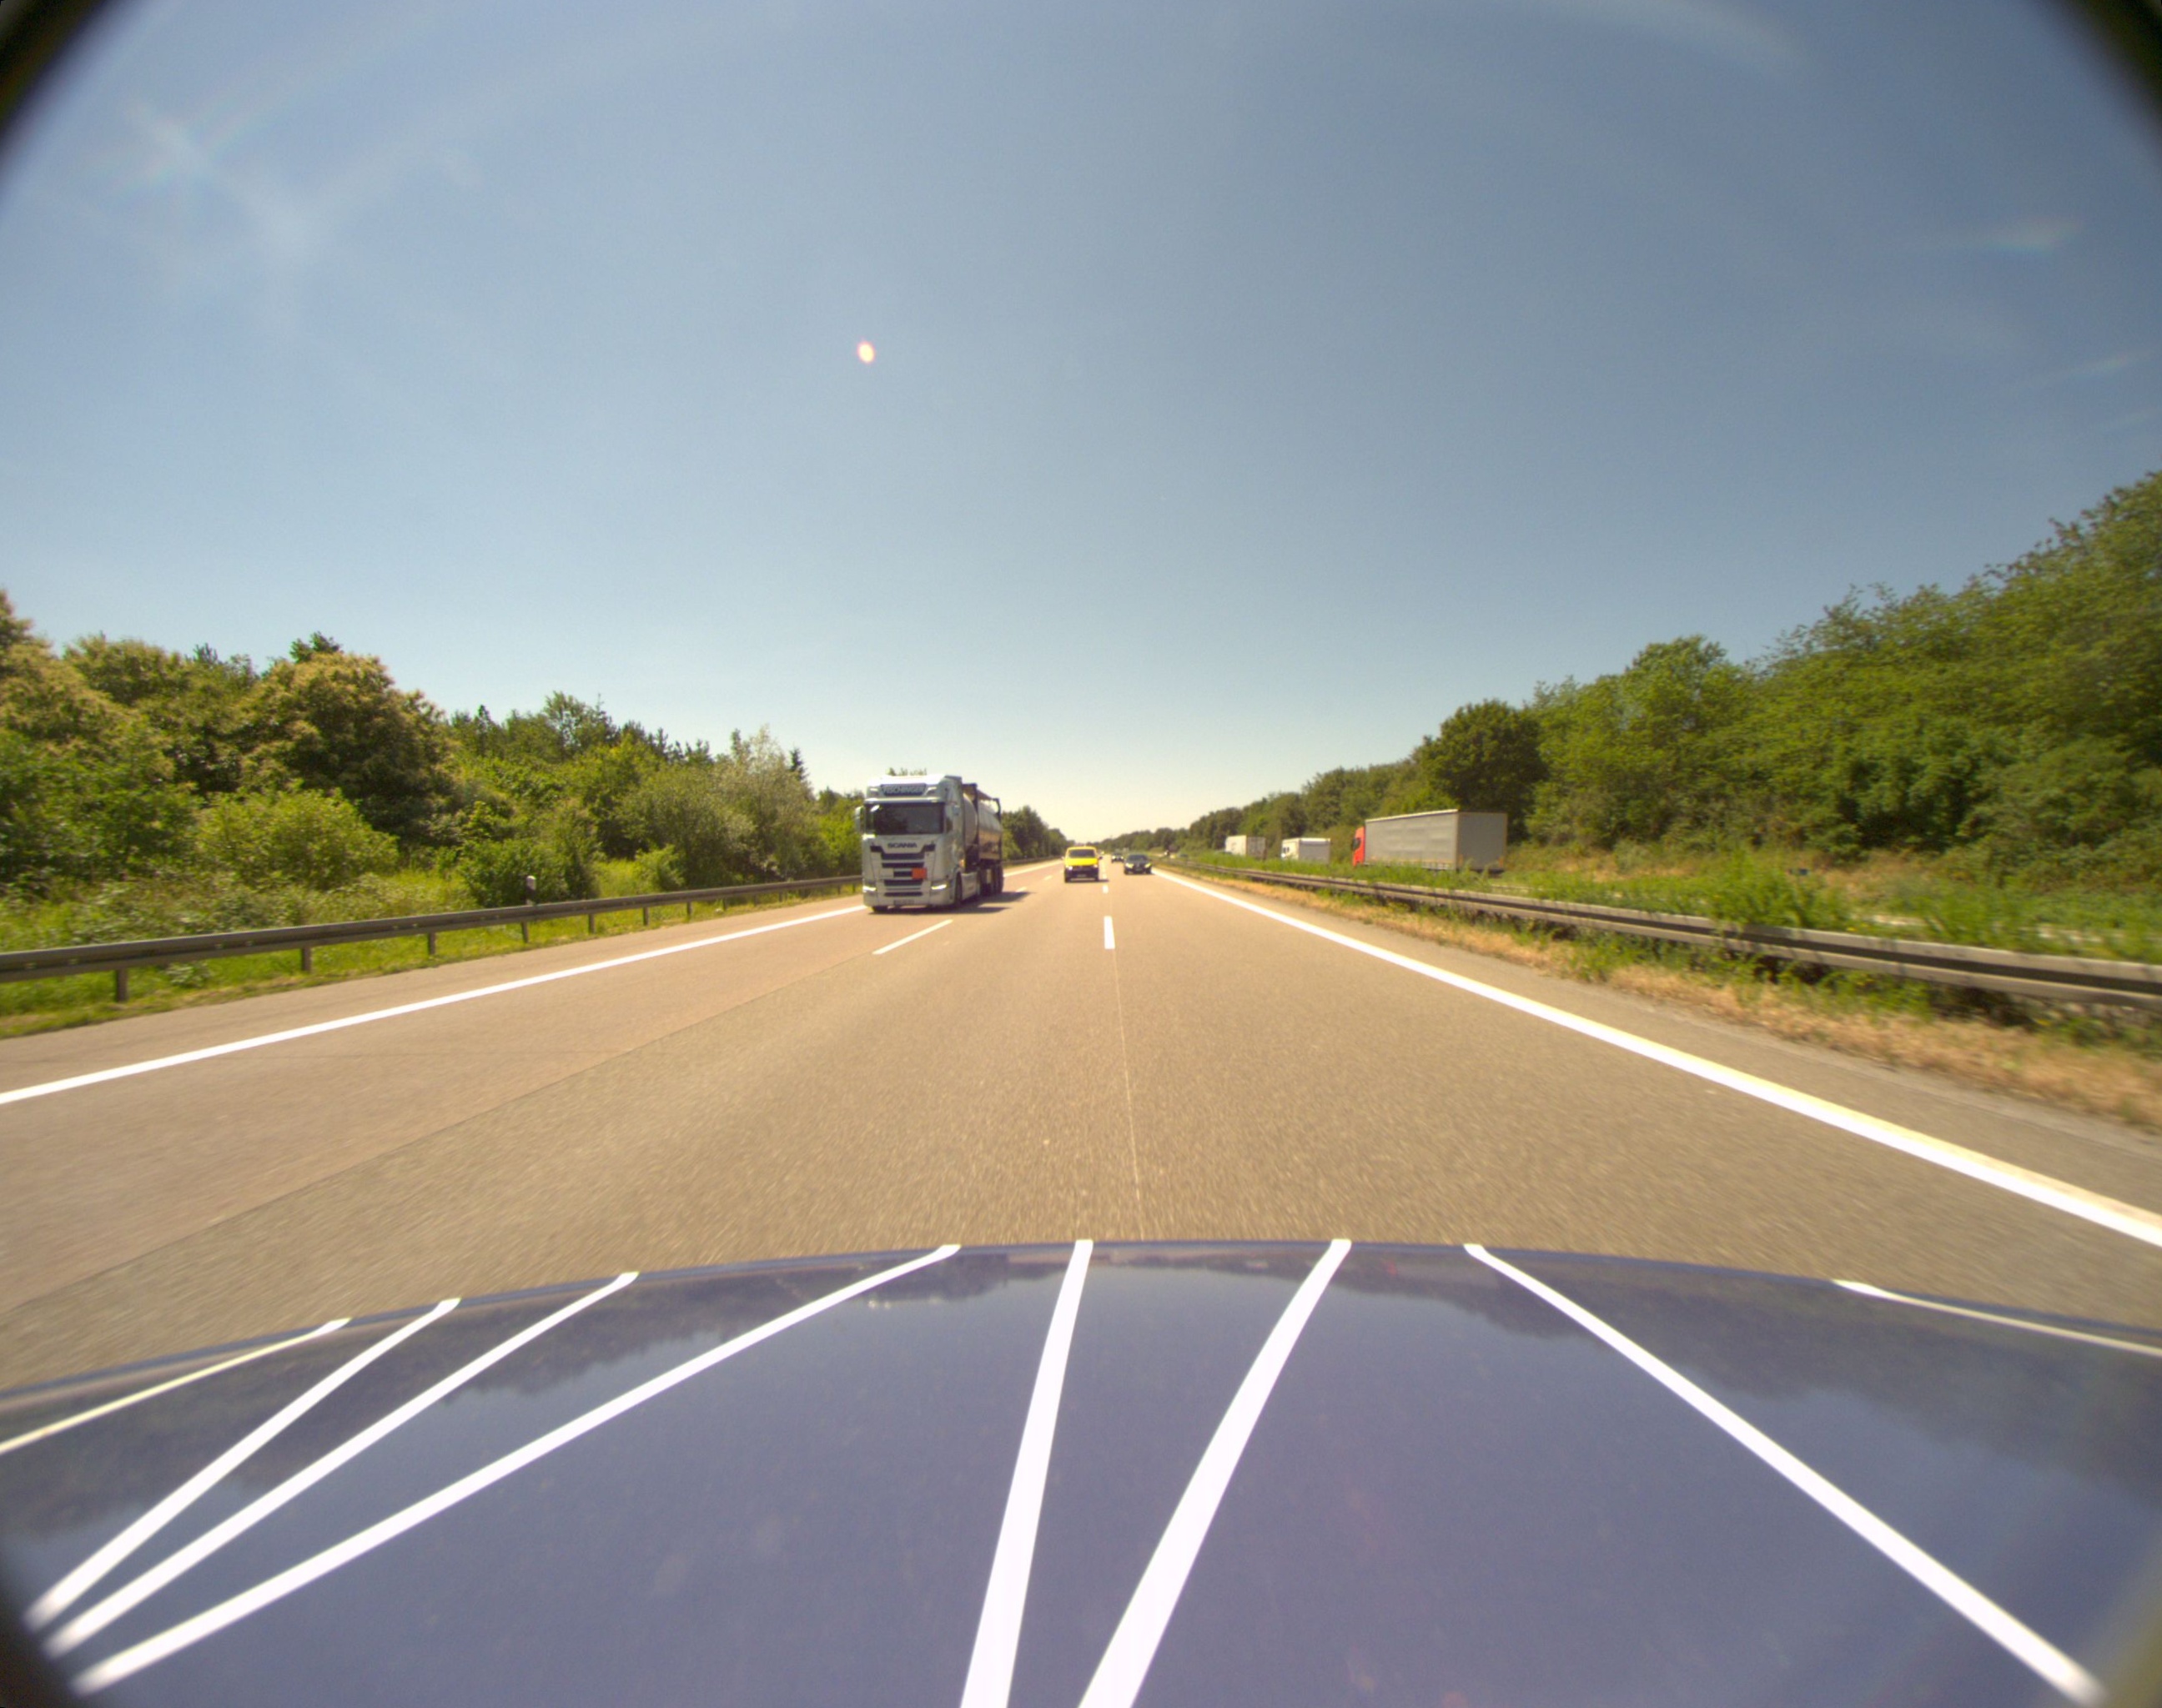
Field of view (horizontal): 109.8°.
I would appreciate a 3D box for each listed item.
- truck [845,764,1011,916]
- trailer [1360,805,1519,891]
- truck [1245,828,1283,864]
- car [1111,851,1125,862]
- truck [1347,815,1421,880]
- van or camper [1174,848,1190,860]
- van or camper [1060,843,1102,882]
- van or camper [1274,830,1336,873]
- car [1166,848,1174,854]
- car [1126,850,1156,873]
[{"bbox_3d":[-4.758,-0.451,27.299,2.805,4.022,13.354,-2,1,1],"label":"truck"},{"bbox_3d":[20.648,-0.386,45.374,3.152,4.224,14.479,-2,1,2],"label":"trailer"},{"bbox_3d":[22.290,-1.019,92.802,3.201,4.125,5.943,-2,1,2],"label":"truck"},{"bbox_3d":[5.357,0.316,109.584,1.894,1.541,4.039,1,1,1],"label":"car"},{"bbox_3d":[20.978,-0.483,52.965,3.144,4.207,5.176,-2,1,2],"label":"truck"},{"bbox_3d":[15.051,-0.077,113.489,1.998,1.740,5.058,-1,1,2],"label":"van or camper"},{"bbox_3d":[0.078,0.422,43.213,2.063,1.992,5.884,-1,1,2],"label":"van or camper"},{"bbox_3d":[16.777,-0.201,57.465,2.619,2.949,7.859,-2,1,3],"label":"van or camper"},{"bbox_3d":[26.293,-0.925,224.496,1.998,1.904,4.303,-1,1,1],"label":"car"},{"bbox_3d":[4.209,0.514,53.755,1.894,1.541,4.039,1,1,1],"label":"car"}]
